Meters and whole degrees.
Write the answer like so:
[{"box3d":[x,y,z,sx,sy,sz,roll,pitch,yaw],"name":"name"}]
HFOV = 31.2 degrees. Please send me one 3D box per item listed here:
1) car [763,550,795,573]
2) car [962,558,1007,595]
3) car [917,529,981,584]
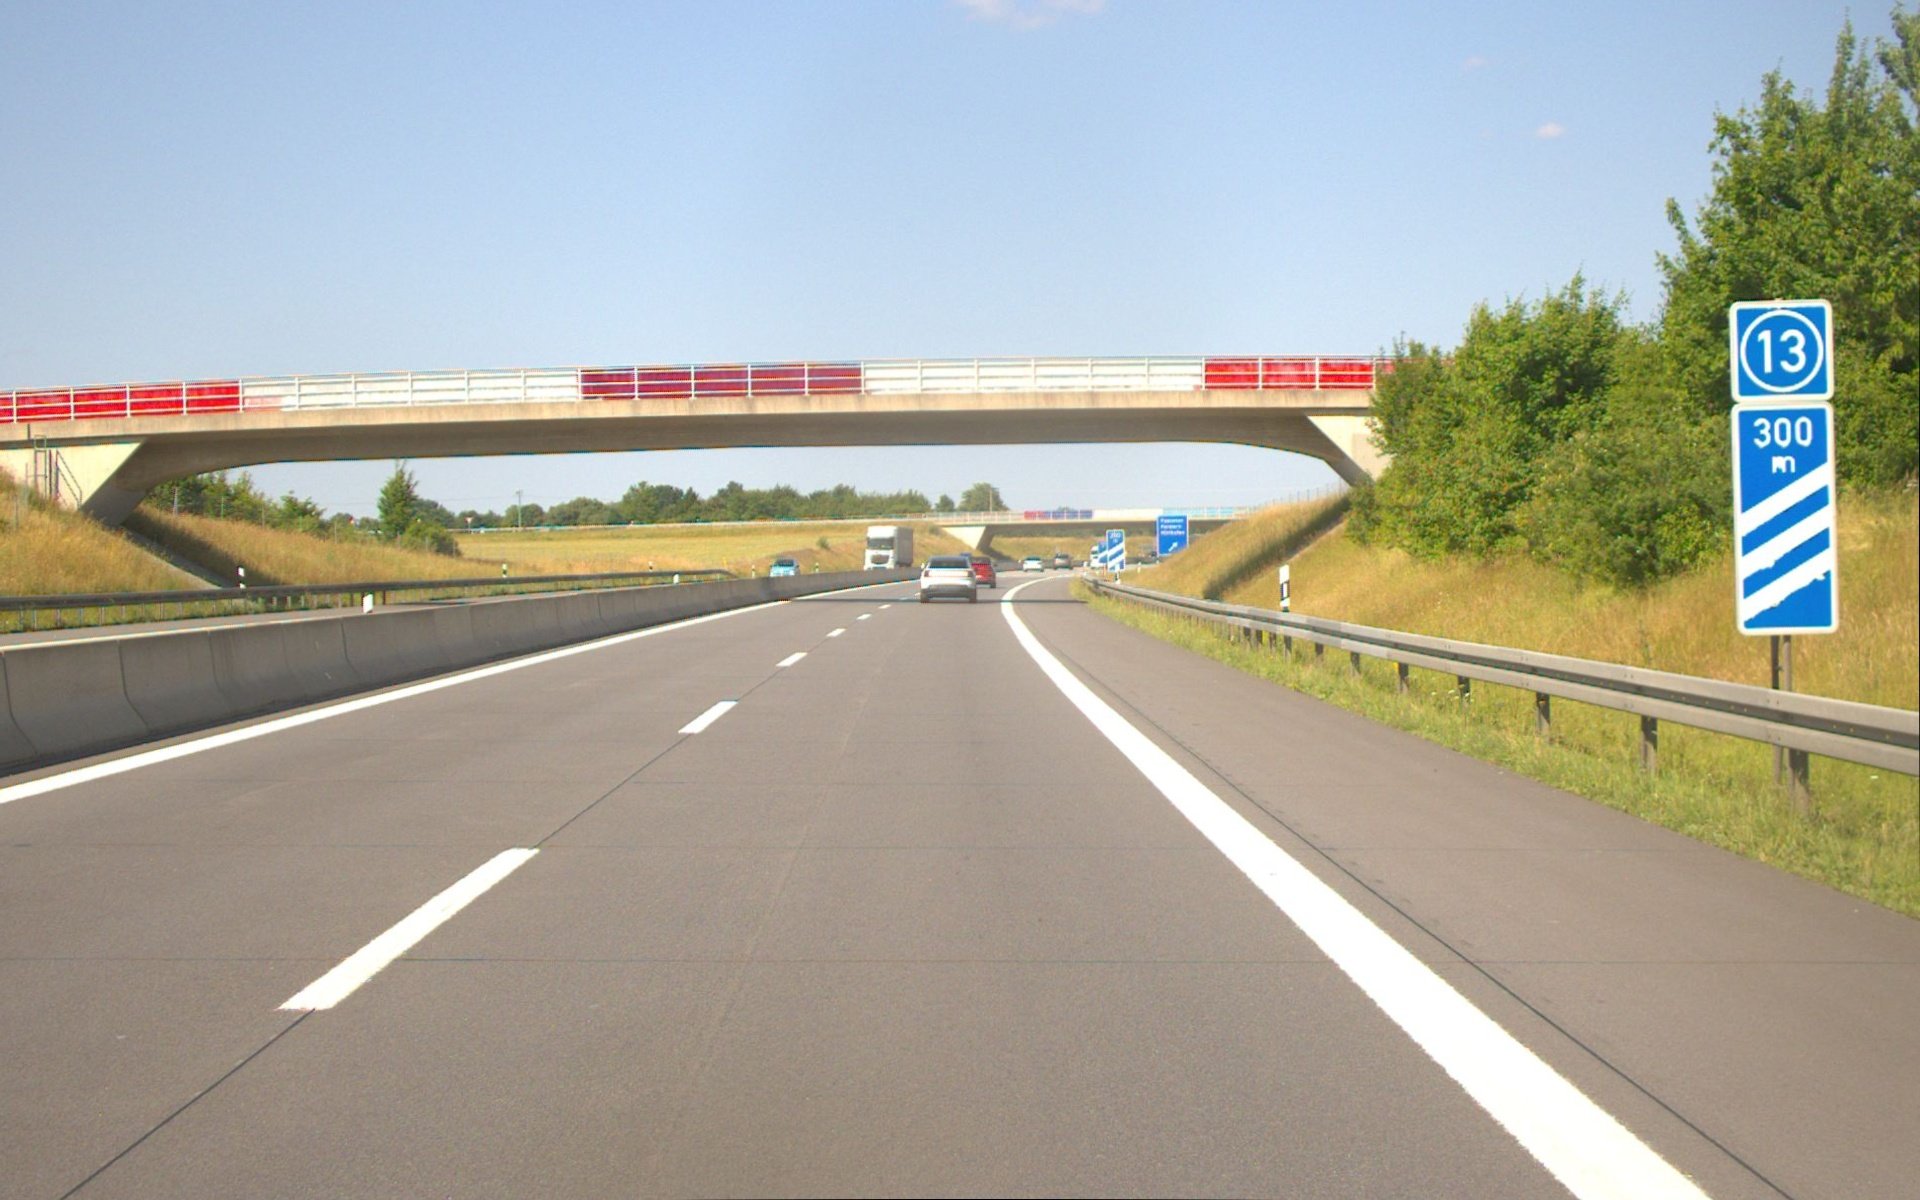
[{"box3d":[-11.407,-2.441,217.256,1.660,1.448,4.000,0,1,2],"name":"car"},{"box3d":[1.214,-1.152,165.818,1.994,1.725,4.869,-1,1,2],"name":"car"},{"box3d":[-0.327,-1.430,113.174,1.993,1.725,4.869,-1,1,1],"name":"car"}]
